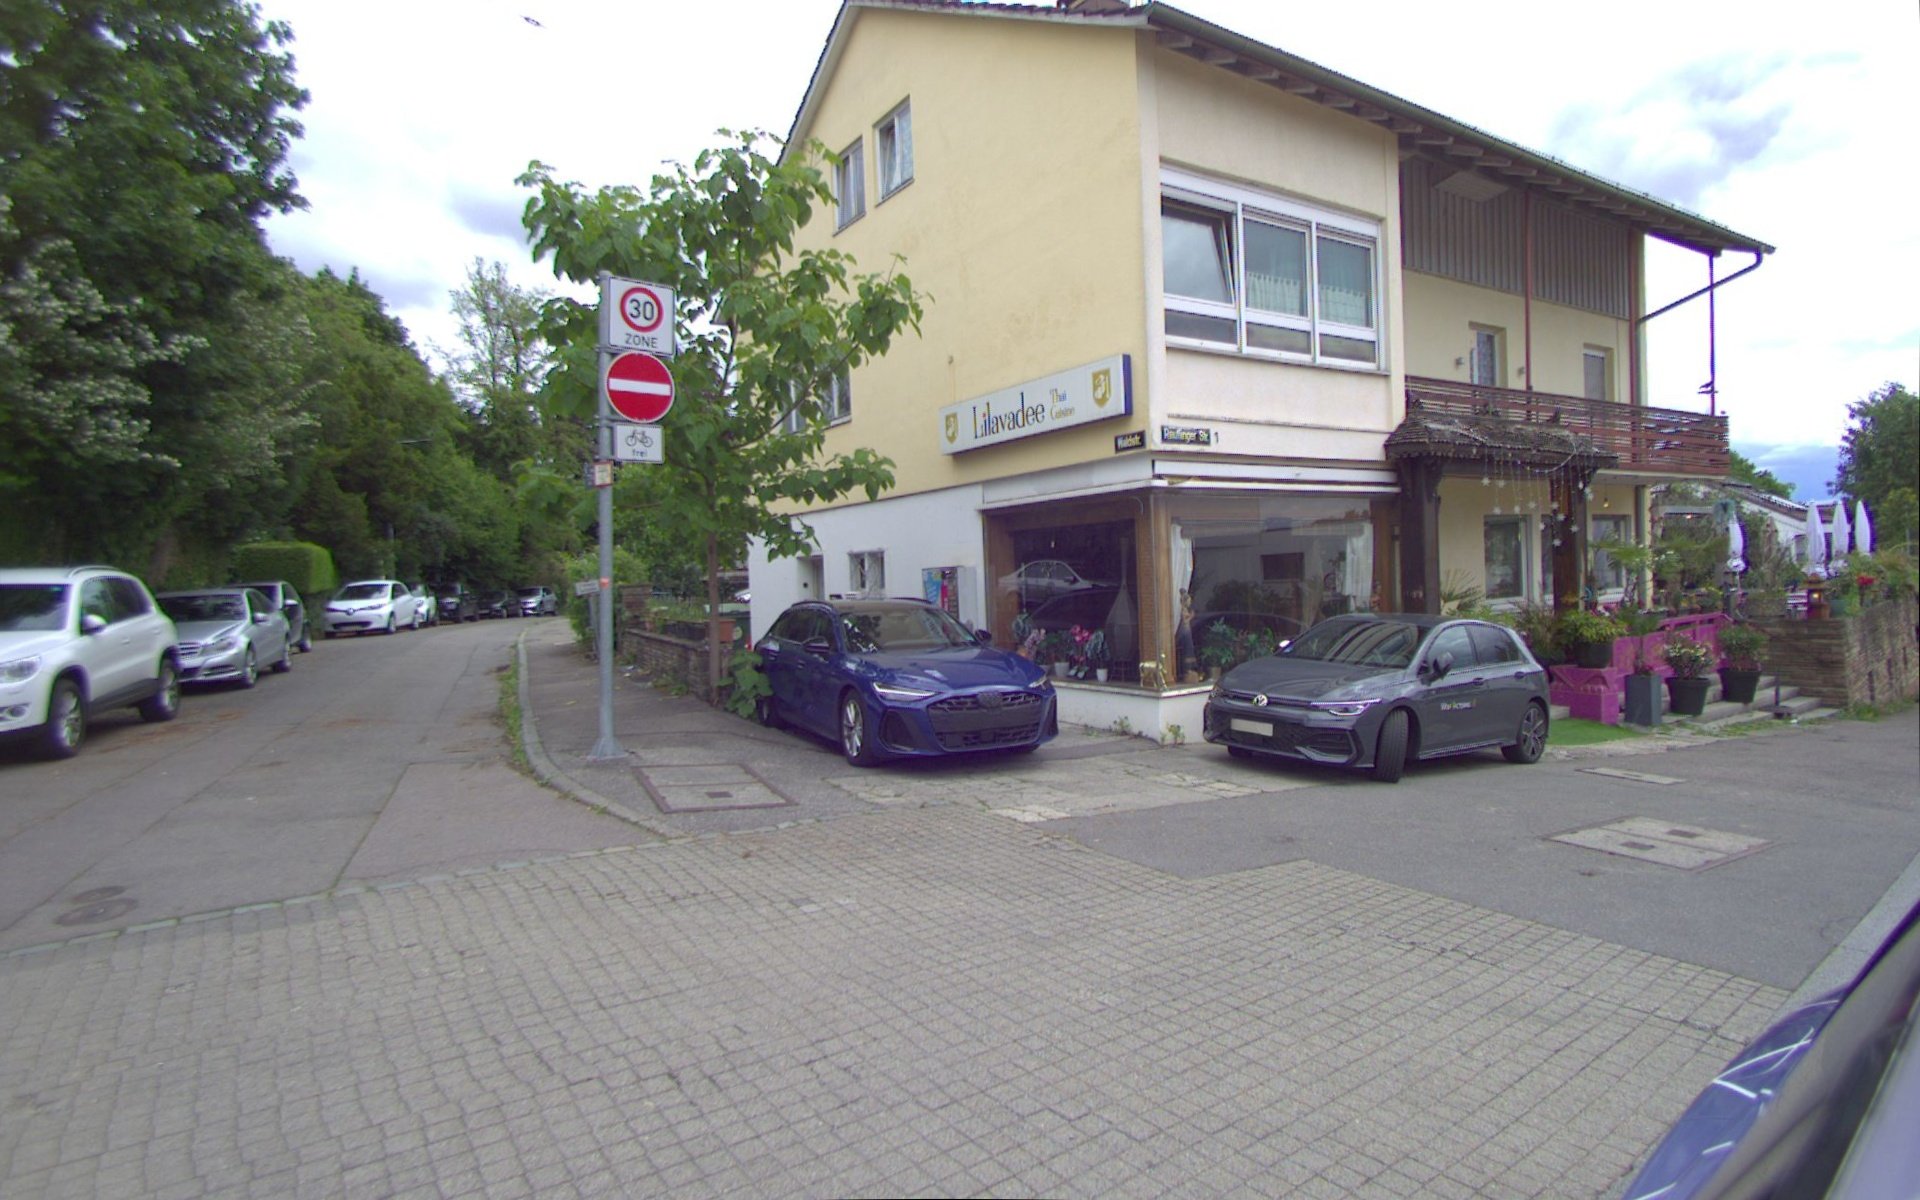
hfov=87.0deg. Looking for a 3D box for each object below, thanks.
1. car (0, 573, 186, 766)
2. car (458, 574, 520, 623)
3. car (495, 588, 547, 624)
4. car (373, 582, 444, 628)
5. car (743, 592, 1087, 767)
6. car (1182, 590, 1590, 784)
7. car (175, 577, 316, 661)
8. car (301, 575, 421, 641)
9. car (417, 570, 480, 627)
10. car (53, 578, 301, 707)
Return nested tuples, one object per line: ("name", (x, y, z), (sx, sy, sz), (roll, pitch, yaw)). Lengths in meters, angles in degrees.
("car", (-8.928, 0.514, 9.346), (1.959, 1.485, 4.081), (0, 1, -25))
("car", (-21.623, -0.033, 46.609), (1.958, 2.040, 4.006), (0, -2, -16))
("car", (-22.533, 0.347, 52.066), (1.958, 1.767, 3.631), (0, -2, -16))
("car", (-18.395, 0.137, 33.855), (1.638, 1.441, 3.390), (0, 1, -21))
("car", (-0.727, 0.600, 10.315), (1.799, 1.343, 4.518), (0, 1, -27))
("car", (4.365, 0.705, 10.098), (4.305, 1.491, 1.854), (1, 1, -38))
("car", (-14.343, 0.328, 20.485), (1.829, 1.550, 2.926), (0, 1, -25))
("car", (-17.168, 0.280, 29.221), (1.958, 1.730, 4.006), (0, -3, -15))
("car", (-19.095, -0.083, 37.911), (1.959, 2.039, 4.007), (0, 1, -25))
("car", (-11.406, 0.510, 15.118), (1.960, 1.463, 4.303), (-6, 3, -26))
